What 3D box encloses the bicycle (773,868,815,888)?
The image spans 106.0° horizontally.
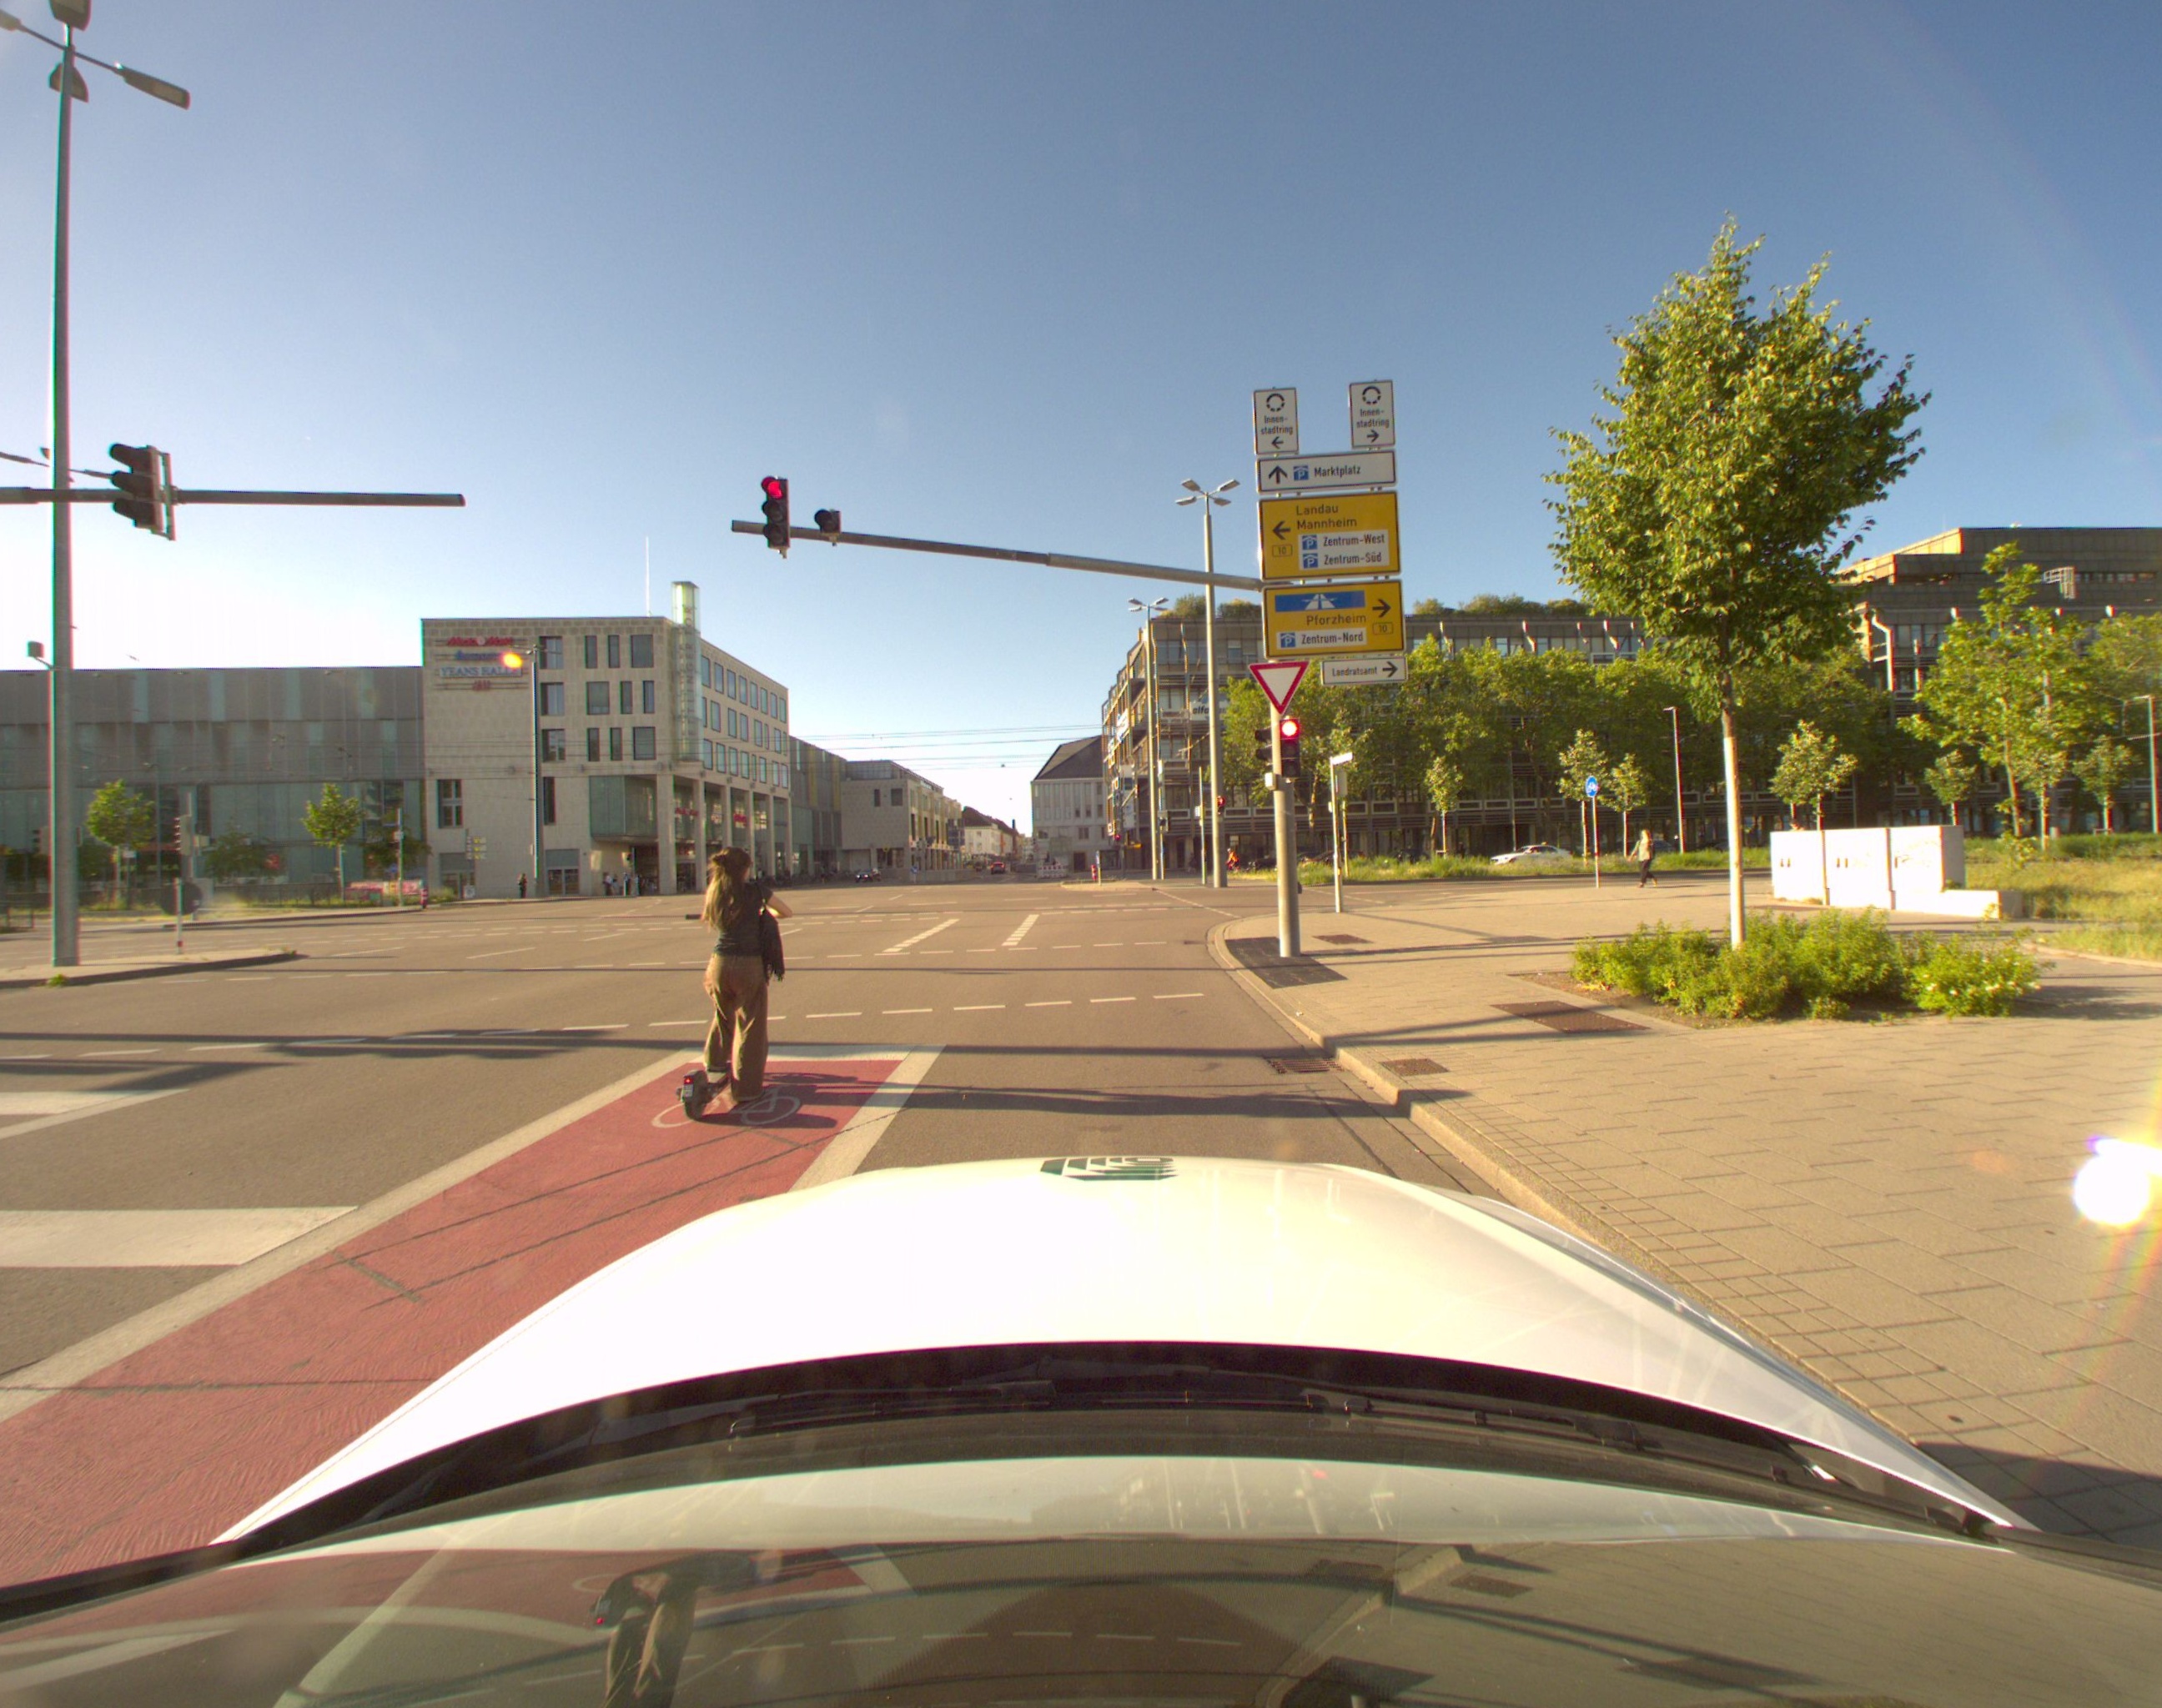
[{"bbox_3d":[-26.681,2.181,75.753,3.491,1.696,0.984,-2,0,-10],"label":"bicycle"}]

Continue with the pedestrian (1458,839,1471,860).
[{"bbox_3d":[30.993,-0.343,65.827,0.662,1.658,0.739,-2,0,-5],"label":"pedestrian"}]

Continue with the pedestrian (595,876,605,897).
[{"bbox_3d":[-36.038,2.425,61.014,0.420,1.565,0.457,-2,0,2],"label":"pedestrian"}]

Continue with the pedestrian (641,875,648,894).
[{"bbox_3d":[-33.286,2.355,62.123,0.389,1.426,0.497,-1,-1,-38],"label":"pedestrian"}]

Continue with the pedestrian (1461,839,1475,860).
[{"bbox_3d":[30.885,-0.349,64.978,0.662,1.658,0.739,-2,0,-5],"label":"pedestrian"}]

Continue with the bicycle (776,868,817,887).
[{"bbox_3d":[-26.857,2.200,76.850,3.491,1.696,0.984,-2,0,-10],"label":"bicycle"}]

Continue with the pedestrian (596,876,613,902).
[{"bbox_3d":[-34.175,2.484,58.377,0.755,1.798,0.736,-2,0,-3],"label":"pedestrian"}]

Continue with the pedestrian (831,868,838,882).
[{"bbox_3d":[-29.987,2.545,99.152,0.699,1.642,0.690,-2,0,-20],"label":"pedestrian"}]

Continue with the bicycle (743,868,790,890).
[{"bbox_3d":[-26.732,2.097,69.285,3.488,1.696,1.114,-2,0,-7],"label":"bicycle"}]

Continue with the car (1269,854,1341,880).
[{"bbox_3d":[13.851,0.782,50.467,3.976,1.508,1.867,-1,0,-2],"label":"car"}]

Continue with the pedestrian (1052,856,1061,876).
[{"bbox_3d":[-2.072,1.010,69.263,0.661,1.658,0.755,-2,0,-1],"label":"pedestrian"}]

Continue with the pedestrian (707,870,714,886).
[{"bbox_3d":[-33.309,2.136,73.249,0.385,1.439,0.367,-2,0,-3],"label":"pedestrian"}]

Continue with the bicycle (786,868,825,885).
[{"bbox_3d":[-27.411,2.227,81.152,3.491,1.527,0.984,-2,0,-10],"label":"bicycle"}]

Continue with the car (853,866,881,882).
[{"bbox_3d":[-21.063,1.966,80.214,1.991,1.486,3.991,-2,0,-6],"label":"car"}]

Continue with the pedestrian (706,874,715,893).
[{"bbox_3d":[-32.279,2.583,70.977,0.480,1.585,0.513,-2,0,-3],"label":"pedestrian"}]

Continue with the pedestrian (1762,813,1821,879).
[{"bbox_3d":[19.180,-0.216,22.007,0.694,1.728,0.939,-2,0,-12],"label":"pedestrian"}]

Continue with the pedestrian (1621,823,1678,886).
[{"bbox_3d":[15.395,0.016,22.060,0.801,1.630,0.939,-2,0,-12],"label":"pedestrian"}]

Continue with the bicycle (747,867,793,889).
[{"bbox_3d":[-26.909,2.082,70.464,3.488,1.696,1.114,-2,0,-7],"label":"bicycle"}]

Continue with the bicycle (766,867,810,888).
[{"bbox_3d":[-26.321,2.116,73.167,3.488,1.696,1.114,-2,0,-7],"label":"bicycle"}]

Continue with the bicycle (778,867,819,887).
[{"bbox_3d":[-27.045,2.211,78.058,3.491,1.696,0.984,-2,0,-10],"label":"bicycle"}]

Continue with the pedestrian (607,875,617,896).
[{"bbox_3d":[-35.177,2.360,61.138,0.420,1.565,0.457,-2,0,2],"label":"pedestrian"}]

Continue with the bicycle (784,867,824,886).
[{"bbox_3d":[-27.249,2.235,80.155,3.491,1.696,0.984,-2,0,-10],"label":"bicycle"}]

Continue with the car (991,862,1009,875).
[{"bbox_3d":[-10.792,1.887,108.853,2.195,1.607,4.320,-2,0,-4],"label":"car"}]

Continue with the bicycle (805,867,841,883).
[{"bbox_3d":[-27.654,2.214,87.442,3.491,1.527,0.984,-2,0,-10],"label":"bicycle"}]

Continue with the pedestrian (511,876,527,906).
[{"bbox_3d":[-32.580,2.146,47.177,0.525,1.694,0.546,-2,0,-8],"label":"pedestrian"}]

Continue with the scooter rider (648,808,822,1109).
[{"bbox_3d":[-2.190,0.624,5.256,0.726,1.775,0.811,-1,0,1],"label":"scooter rider"}]

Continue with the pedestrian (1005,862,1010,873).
[{"bbox_3d":[-9.697,1.763,107.878,0.608,1.411,0.569,-2,0,-5],"label":"pedestrian"}]

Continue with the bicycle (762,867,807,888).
[{"bbox_3d":[-26.145,2.070,71.946,3.488,1.696,1.114,-2,0,-7],"label":"bicycle"}]

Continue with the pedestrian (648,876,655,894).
[{"bbox_3d":[-32.881,2.368,62.389,0.389,1.412,0.433,-2,-1,-37],"label":"pedestrian"}]

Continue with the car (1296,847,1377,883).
[{"bbox_3d":[14.452,0.618,46.200,3.975,2.014,1.999,0,-1,-1],"label":"car"}]

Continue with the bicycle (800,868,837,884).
[{"bbox_3d":[-27.549,2.293,85.573,3.491,1.527,0.984,-2,0,-10],"label":"bicycle"}]

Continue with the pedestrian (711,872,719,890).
[{"bbox_3d":[-32.231,2.386,71.671,0.480,1.510,0.513,-2,0,-3],"label":"pedestrian"}]

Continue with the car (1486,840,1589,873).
[{"bbox_3d":[28.893,0.144,51.645,5.424,2.014,2.097,0,-1,-1],"label":"car"}]

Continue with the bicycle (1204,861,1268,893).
[{"bbox_3d":[8.926,1.314,47.059,3.488,1.659,0.929,-2,0,-7],"label":"bicycle"}]

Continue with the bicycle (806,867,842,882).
[{"bbox_3d":[-27.923,2.214,88.571,3.491,1.527,0.984,-2,0,-10],"label":"bicycle"}]

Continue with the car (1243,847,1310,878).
[{"bbox_3d":[12.839,0.560,53.615,3.975,2.014,1.999,0,-1,-1],"label":"car"}]

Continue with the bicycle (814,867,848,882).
[{"bbox_3d":[-28.174,2.294,91.741,3.491,1.527,0.984,-2,0,-10],"label":"bicycle"}]

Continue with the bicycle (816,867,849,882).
[{"bbox_3d":[-28.291,2.331,92.771,3.491,1.527,0.984,-2,0,-10],"label":"bicycle"}]

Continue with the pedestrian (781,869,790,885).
[{"bbox_3d":[-30.160,2.362,83.227,0.652,1.642,0.693,-2,0,-7],"label":"pedestrian"}]

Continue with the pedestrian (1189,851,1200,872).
[{"bbox_3d":[9.180,0.584,65.898,0.728,1.658,0.649,-2,0,-5],"label":"pedestrian"}]

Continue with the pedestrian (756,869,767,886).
[{"bbox_3d":[-30.219,2.220,76.953,0.785,1.642,0.692,-2,0,-12],"label":"pedestrian"}]

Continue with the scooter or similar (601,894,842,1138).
[{"bbox_3d":[-2.156,0.903,5.162,0.725,1.202,1.665,-1,0,2],"label":"scooter or similar"}]

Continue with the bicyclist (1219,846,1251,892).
[{"bbox_3d":[8.885,0.854,47.062,1.566,2.580,0.929,-2,0,-7],"label":"bicyclist"}]

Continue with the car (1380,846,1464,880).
[{"bbox_3d":[21.405,0.561,51.238,4.435,2.014,1.998,0,-1,-4],"label":"car"}]

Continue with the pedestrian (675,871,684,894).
[{"bbox_3d":[-30.236,2.144,61.280,0.544,1.642,0.545,-2,0,-31],"label":"pedestrian"}]
